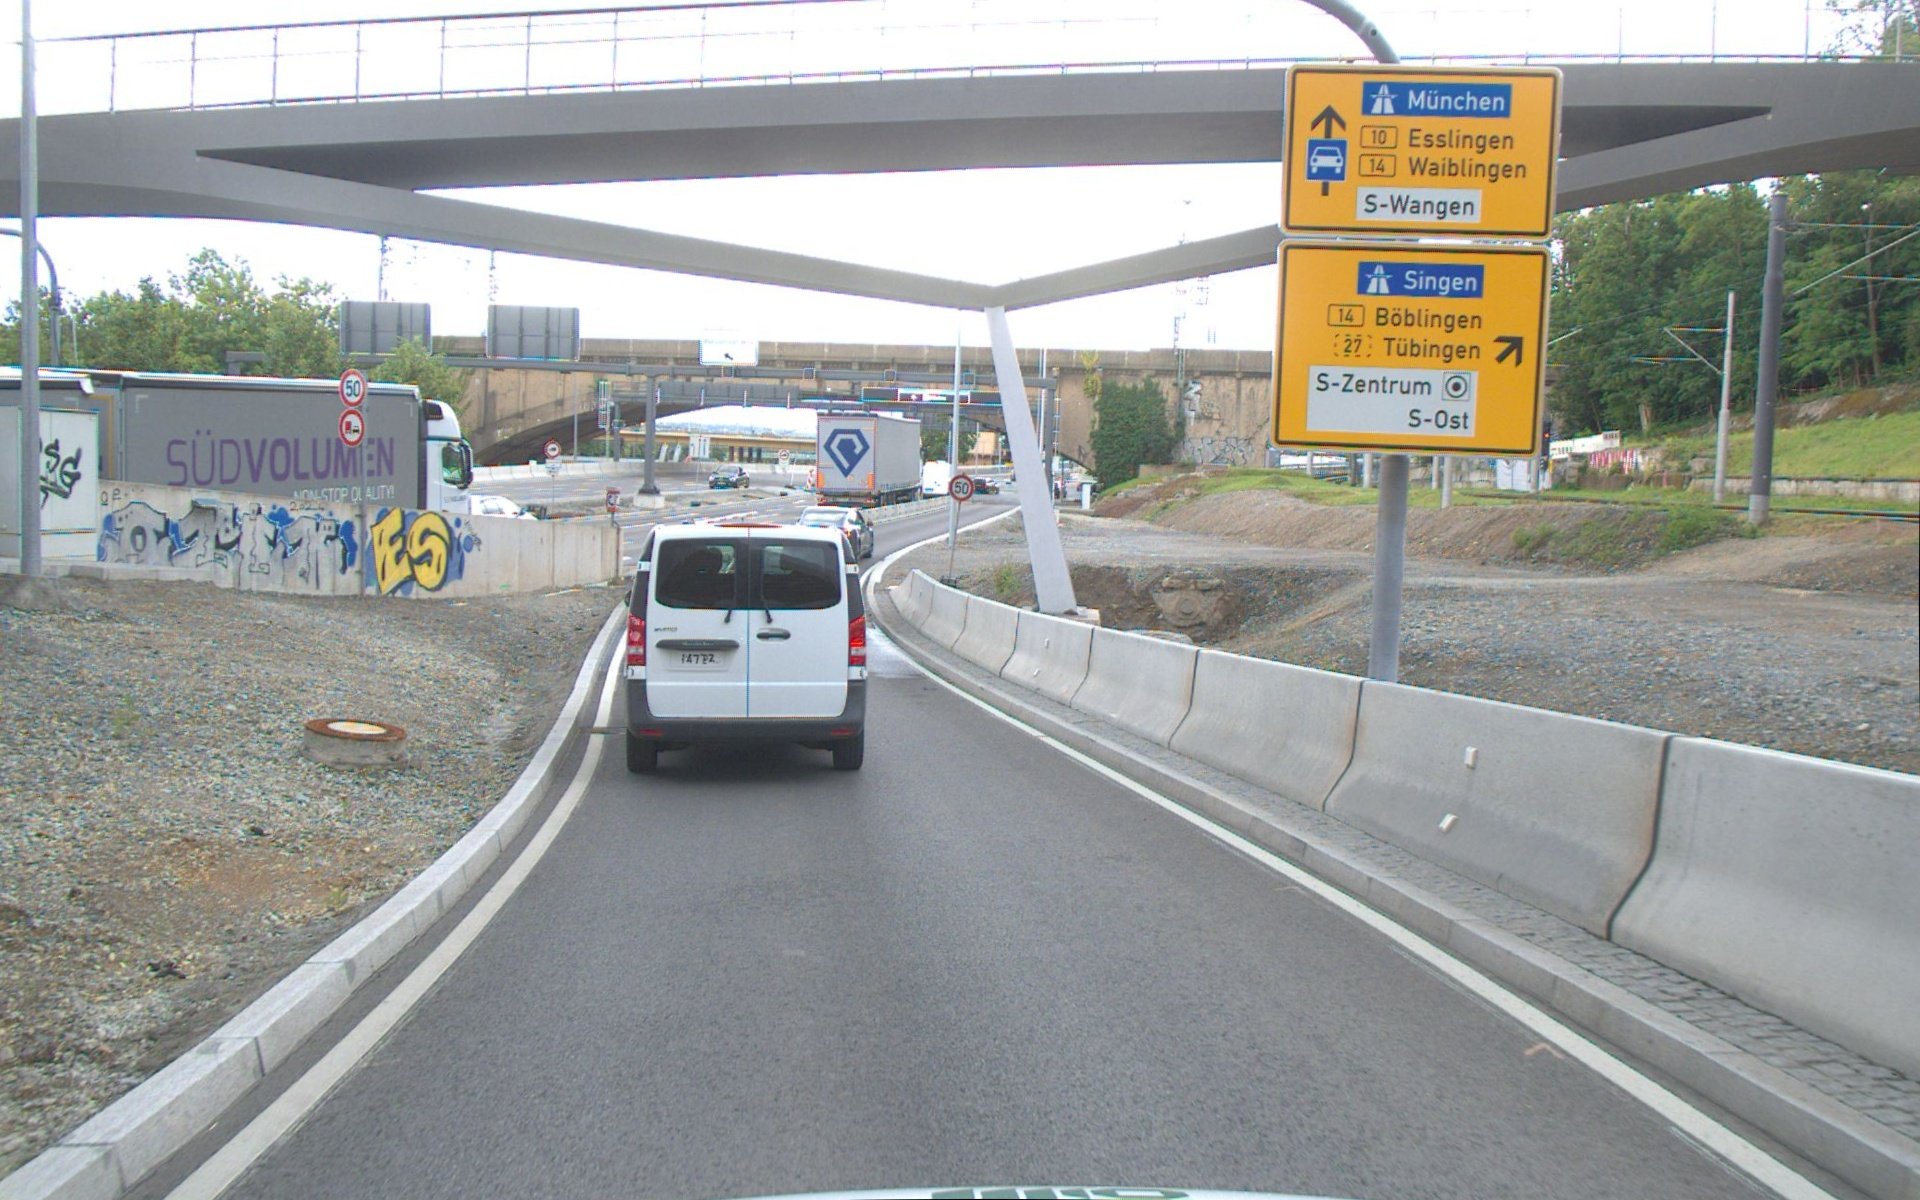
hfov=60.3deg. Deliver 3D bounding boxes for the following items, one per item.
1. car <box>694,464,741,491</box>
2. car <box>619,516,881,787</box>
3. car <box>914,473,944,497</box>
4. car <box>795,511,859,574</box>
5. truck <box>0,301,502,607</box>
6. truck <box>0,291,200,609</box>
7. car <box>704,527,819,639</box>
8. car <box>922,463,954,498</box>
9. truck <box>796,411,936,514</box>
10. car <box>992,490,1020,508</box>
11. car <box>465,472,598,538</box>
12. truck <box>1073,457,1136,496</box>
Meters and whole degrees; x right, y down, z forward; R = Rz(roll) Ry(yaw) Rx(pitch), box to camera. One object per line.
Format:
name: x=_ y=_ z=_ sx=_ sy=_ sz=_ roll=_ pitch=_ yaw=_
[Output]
car: x=-15.135 y=-7.622 z=103.368 sx=1.781 sy=1.478 sz=4.004 roll=3 pitch=3 yaw=8
car: x=-1.741 y=0.305 z=14.208 sx=1.840 sy=1.924 sz=4.748 roll=1 pitch=2 yaw=-6
car: x=-2.455 y=-9.057 z=130.530 sx=1.610 sy=1.648 sz=4.004 roll=4 pitch=3 yaw=8
car: x=-3.428 y=-1.504 z=43.062 sx=1.471 sy=1.494 sz=3.398 roll=3 pitch=2 yaw=-3
truck: x=-12.195 y=-2.231 z=29.087 sx=2.924 sy=4.248 sz=11.251 roll=4 pitch=2 yaw=12
truck: x=-14.077 y=-1.991 z=20.402 sx=2.856 sy=4.086 sz=10.210 roll=4 pitch=2 yaw=12
car: x=-3.263 y=-0.344 z=27.744 sx=1.715 sy=1.653 sz=3.842 roll=3 pitch=2 yaw=-5
car: x=-1.502 y=-8.174 z=113.547 sx=1.859 sy=2.152 sz=4.487 roll=3 pitch=3 yaw=1
truck: x=-3.880 y=-6.165 z=74.216 sx=3.247 sy=3.872 sz=16.615 roll=4 pitch=5 yaw=6
car: x=4.248 y=-9.421 z=154.129 sx=1.596 sy=1.612 sz=3.988 roll=3 pitch=3 yaw=-13
car: x=-11.241 y=-2.465 z=43.635 sx=1.951 sy=1.578 sz=4.004 roll=3 pitch=3 yaw=8
truck: x=14.965 y=-12.734 z=170.559 sx=3.336 sy=3.202 sz=7.237 roll=7 pitch=2 yaw=32
